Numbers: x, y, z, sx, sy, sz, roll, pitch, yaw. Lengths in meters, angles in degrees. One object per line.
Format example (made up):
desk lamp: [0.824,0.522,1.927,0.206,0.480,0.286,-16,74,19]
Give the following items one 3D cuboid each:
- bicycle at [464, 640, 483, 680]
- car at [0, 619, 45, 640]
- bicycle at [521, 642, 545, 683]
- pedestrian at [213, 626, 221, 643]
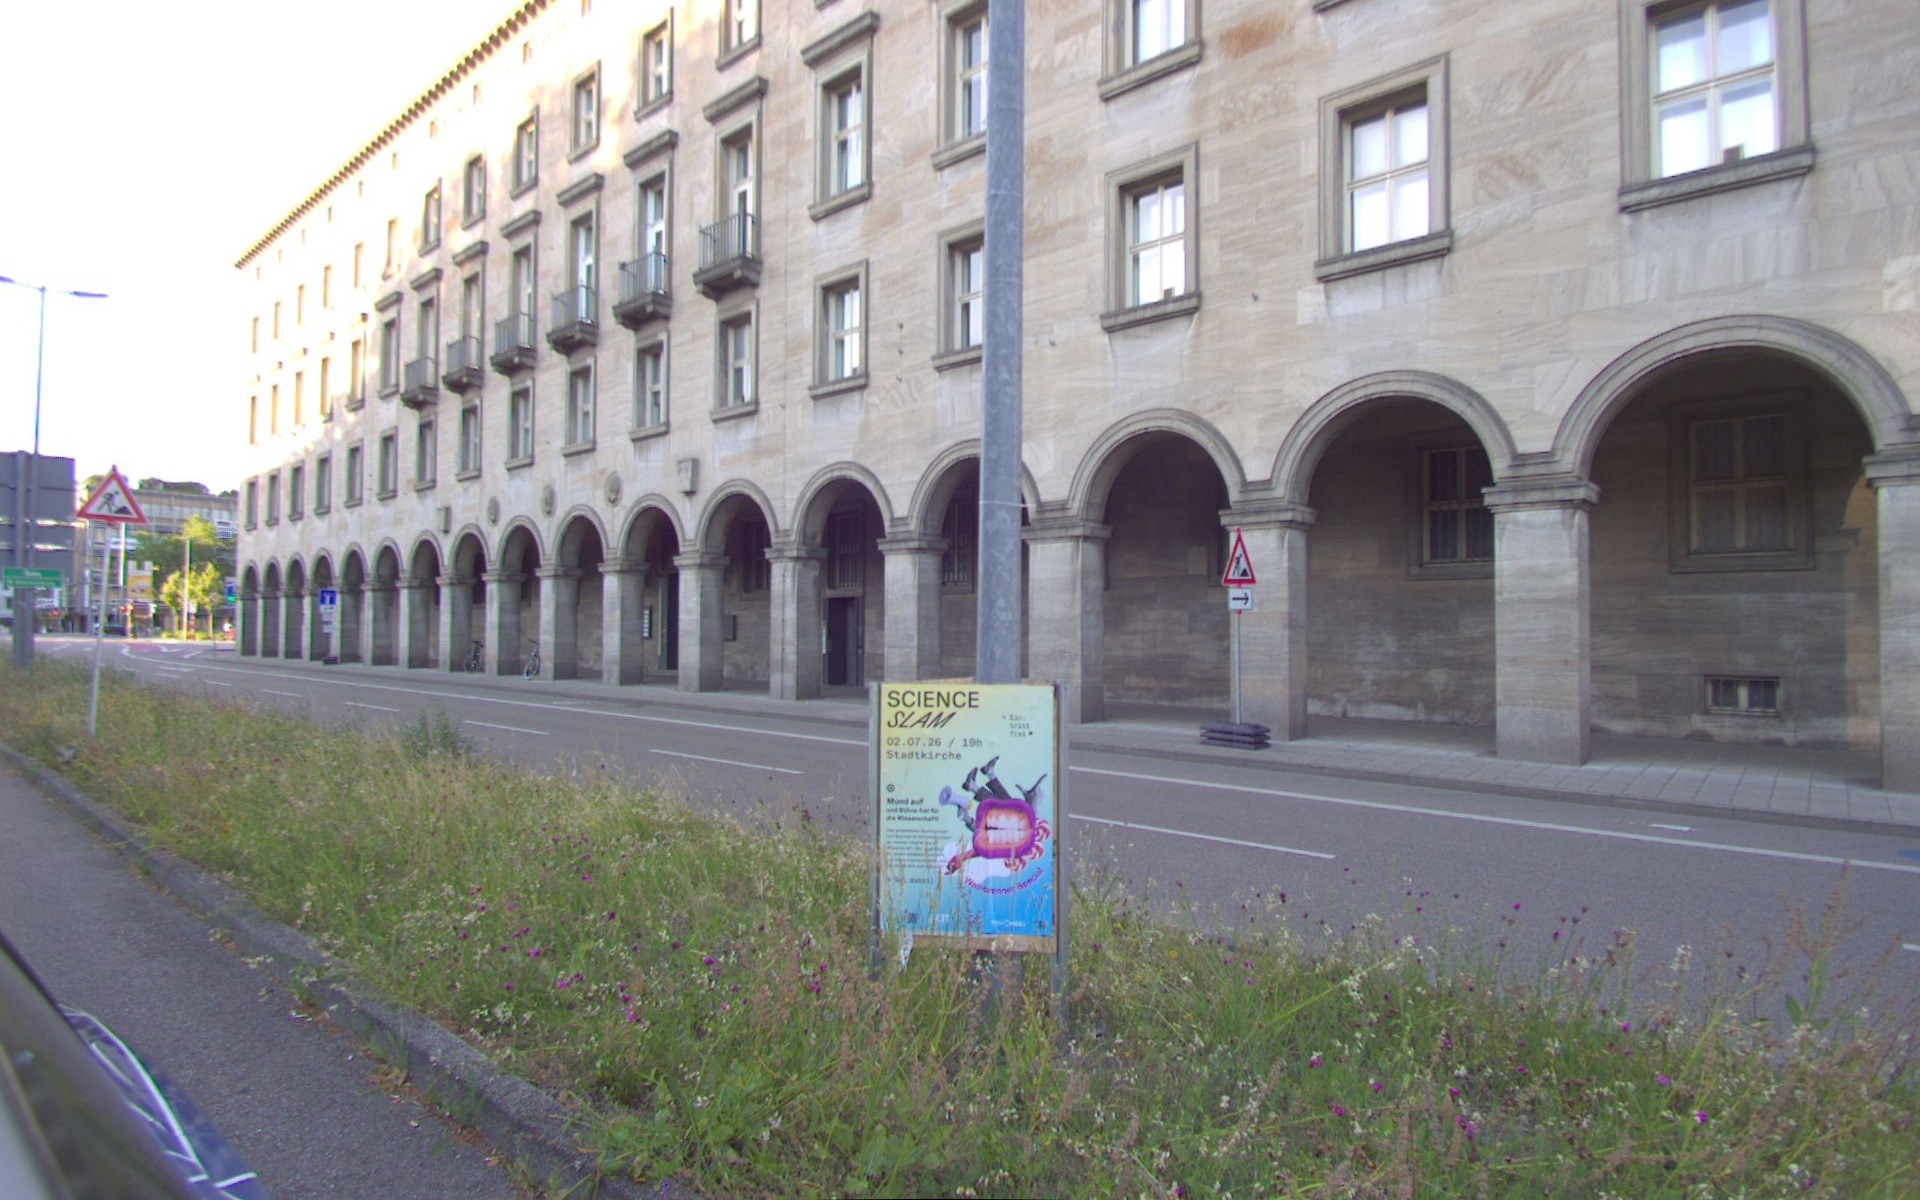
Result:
bicycle: [-15.442,1.878,32.155,0.505,1.188,2.431,1,-2,-25]
car: [-96.295,3.016,103.216,1.994,2.029,3.954,-1,-3,33]
bicycle: [-12.756,1.844,30.278,0.505,1.130,2.431,1,-1,-20]
pedestrian: [-67.689,3.126,92.190,0.389,1.553,0.519,-2,-3,41]
